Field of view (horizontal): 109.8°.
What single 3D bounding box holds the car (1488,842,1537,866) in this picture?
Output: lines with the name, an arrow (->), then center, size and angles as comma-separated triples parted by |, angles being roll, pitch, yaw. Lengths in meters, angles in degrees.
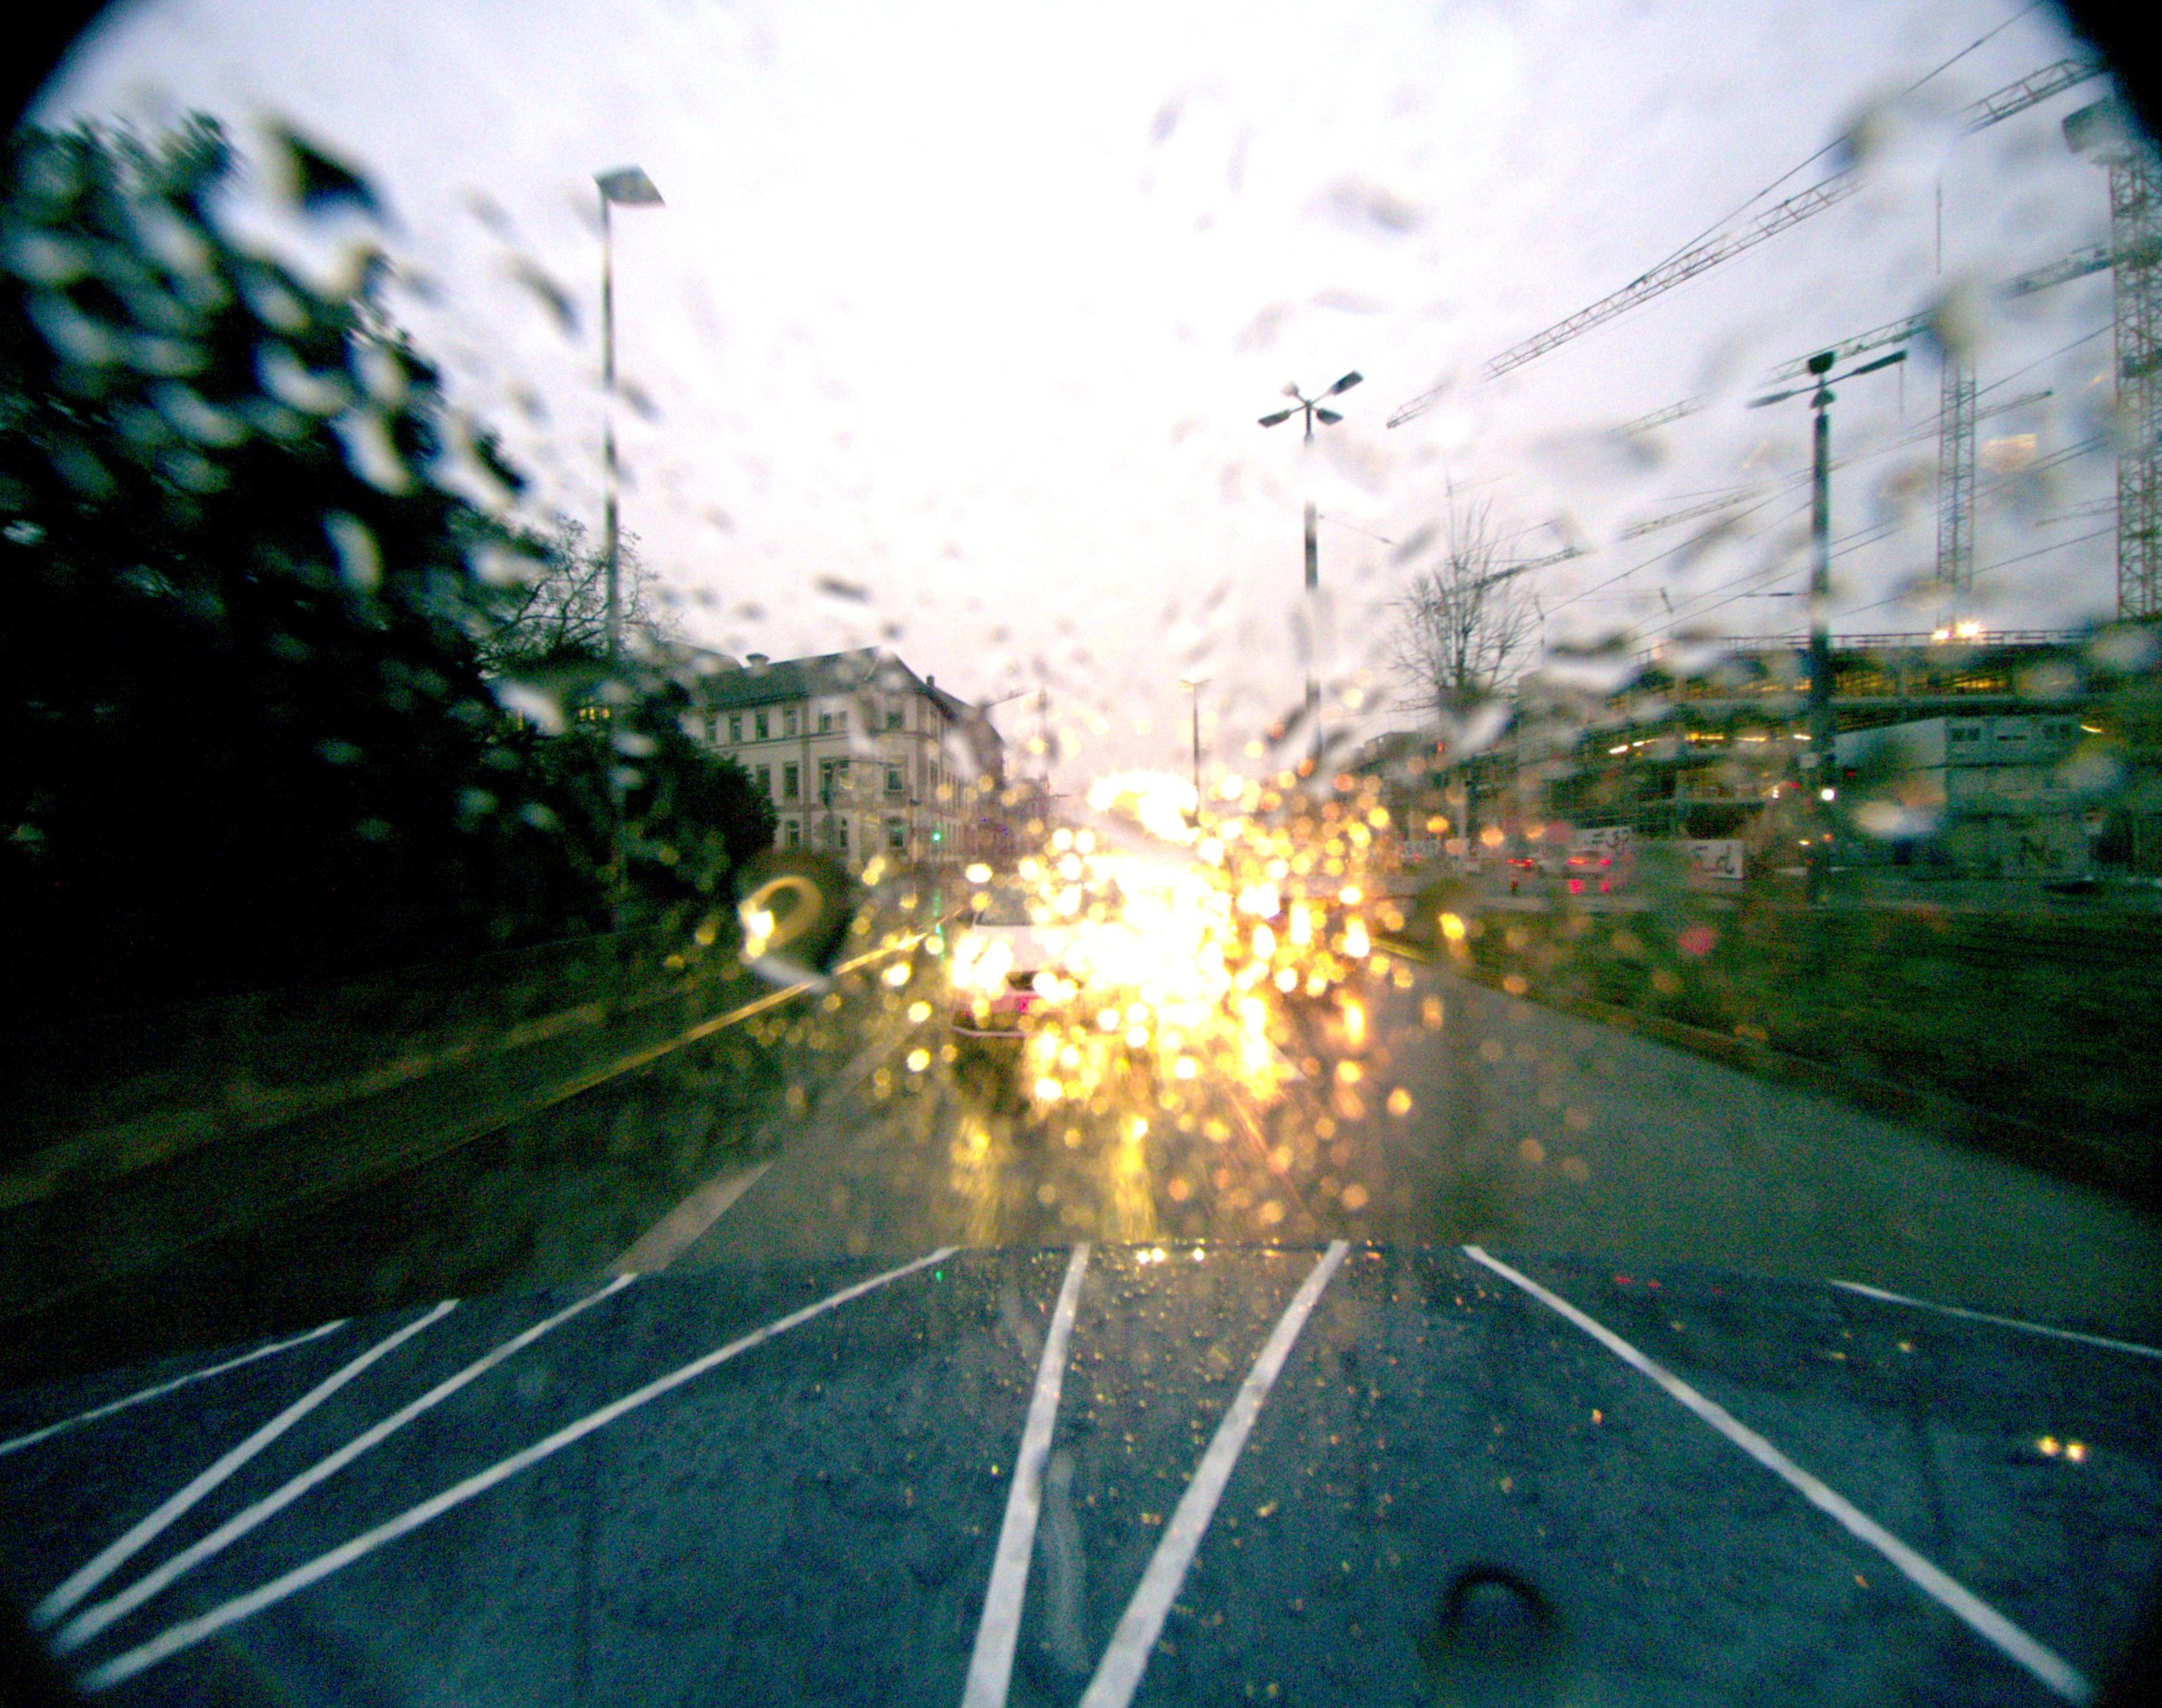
car -> 32.627, -0.041, 57.574 | 1.911, 1.733, 4.002 | -1, 0, 8

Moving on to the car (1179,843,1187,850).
car -> 31.538, -2.243, 236.054 | 1.998, 2.002, 4.000 | -1, 0, 1

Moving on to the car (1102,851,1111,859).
car -> 5.254, 0.166, 154.479 | 1.767, 1.363, 3.981 | -2, 1, 3

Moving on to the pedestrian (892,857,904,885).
pedestrian -> -9.695, 0.893, 40.343 | 0.522, 1.501, 0.587 | -1, 0, -22

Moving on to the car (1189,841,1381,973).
car -> 3.099, 0.701, 12.582 | 1.798, 1.726, 4.536 | -2, 1, -1

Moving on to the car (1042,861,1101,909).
car -> -0.260, 0.960, 24.946 | 1.728, 1.318, 3.981 | -2, 1, 0

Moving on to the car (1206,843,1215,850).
car -> 35.598, -1.997, 208.484 | 1.998, 1.812, 4.001 | -1, 0, 4

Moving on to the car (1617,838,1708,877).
car -> 29.760, 0.161, 39.027 | 1.997, 1.838, 4.002 | -1, 0, 8

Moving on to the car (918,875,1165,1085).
car -> -0.274, 0.999, 7.672 | 1.798, 1.363, 3.981 | -2, 1, 0

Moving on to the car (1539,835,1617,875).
car -> 26.538, 0.040, 40.744 | 1.997, 2.002, 4.002 | -1, 0, 8

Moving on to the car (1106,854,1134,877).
car -> 2.557, 0.773, 50.824 | 1.767, 1.363, 3.981 | -2, 1, 2

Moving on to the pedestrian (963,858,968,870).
pedestrian -> -9.197, 0.776, 60.434 | 0.326, 0.901, 0.377 | -1, 1, 1

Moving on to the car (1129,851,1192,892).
car -> 3.053, 0.622, 30.163 | 1.851, 1.397, 4.613 | -2, 1, -1

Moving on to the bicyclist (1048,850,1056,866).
bicyclist -> -2.501, 0.336, 64.683 | 0.647, 1.381, 0.890 | -1, 1, -1

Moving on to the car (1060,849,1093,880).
car -> -0.252, 0.559, 44.755 | 1.781, 1.666, 3.981 | -2, 1, 0

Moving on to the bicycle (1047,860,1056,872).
bicycle -> -2.495, 0.993, 64.804 | 0.647, 0.961, 2.046 | -1, 0, -1
